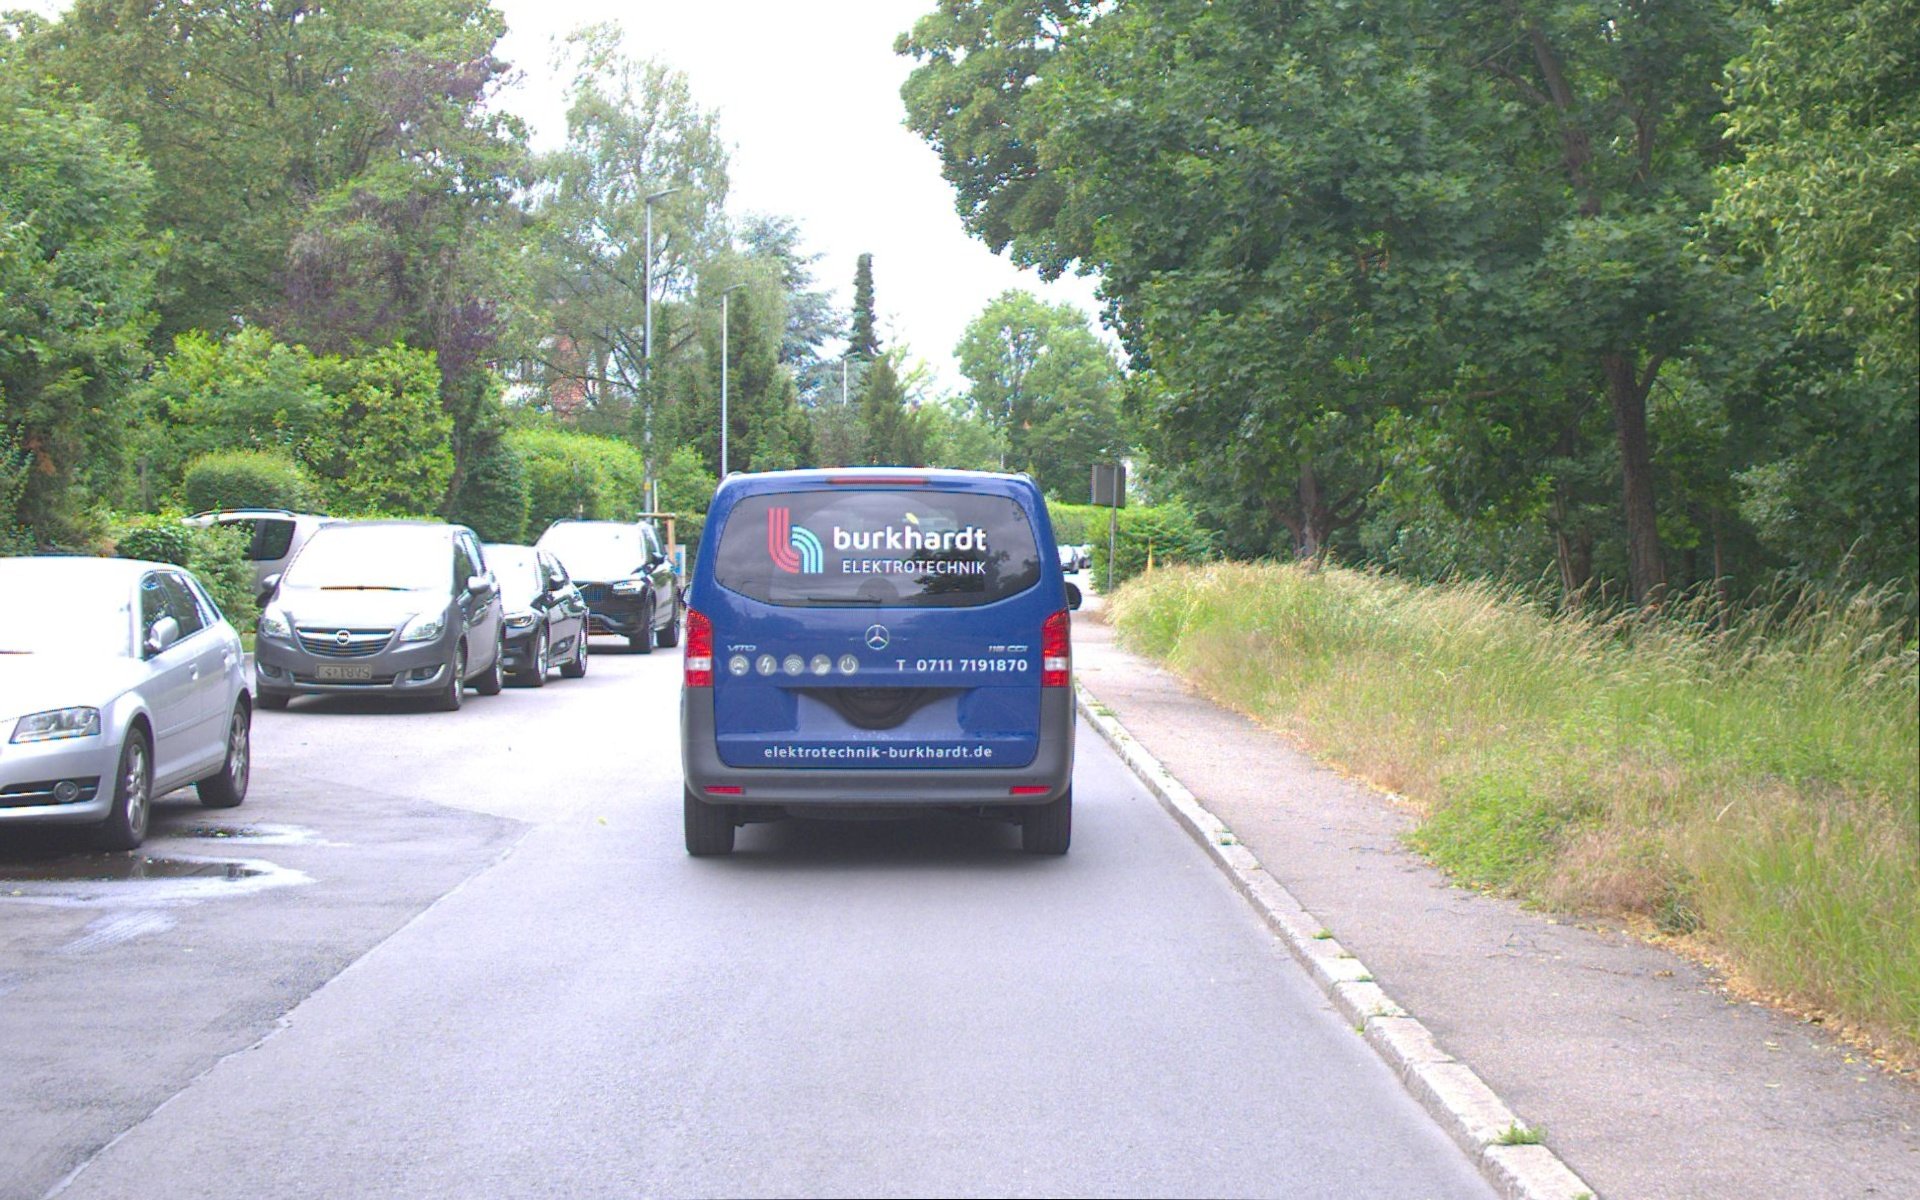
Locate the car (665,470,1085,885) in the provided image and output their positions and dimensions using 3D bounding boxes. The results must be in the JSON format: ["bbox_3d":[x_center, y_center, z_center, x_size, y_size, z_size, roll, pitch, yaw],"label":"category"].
[{"bbox_3d":[-0.505,0.274,17.587,1.888,1.837,4.001,-1,3,-4],"label":"car"}]

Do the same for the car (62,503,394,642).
[{"bbox_3d":[-9.322,-0.366,43.894,3.694,1.632,1.827,2,1,13],"label":"car"}]

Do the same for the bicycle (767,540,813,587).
[{"bbox_3d":[-4.687,-1.009,95.120,0.906,1.247,2.915,3,1,3],"label":"bicycle"}]

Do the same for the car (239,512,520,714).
[{"bbox_3d":[-5.065,0.064,30.560,1.731,1.627,4.569,1,1,0],"label":"car"}]

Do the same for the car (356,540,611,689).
[{"bbox_3d":[-4.901,0.097,36.010,1.754,1.408,4.898,1,1,3],"label":"car"}]

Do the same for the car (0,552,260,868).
[{"bbox_3d":[-4.869,0.484,17.971,1.623,1.445,4.094,0,1,-1],"label":"car"}]

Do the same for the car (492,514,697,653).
[{"bbox_3d":[-4.887,-0.256,46.732,1.974,1.731,5.189,1,1,3],"label":"car"}]

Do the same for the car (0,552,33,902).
[{"bbox_3d":[-4.837,0.573,12.555,1.659,1.448,4.382,0,1,1],"label":"car"}]
